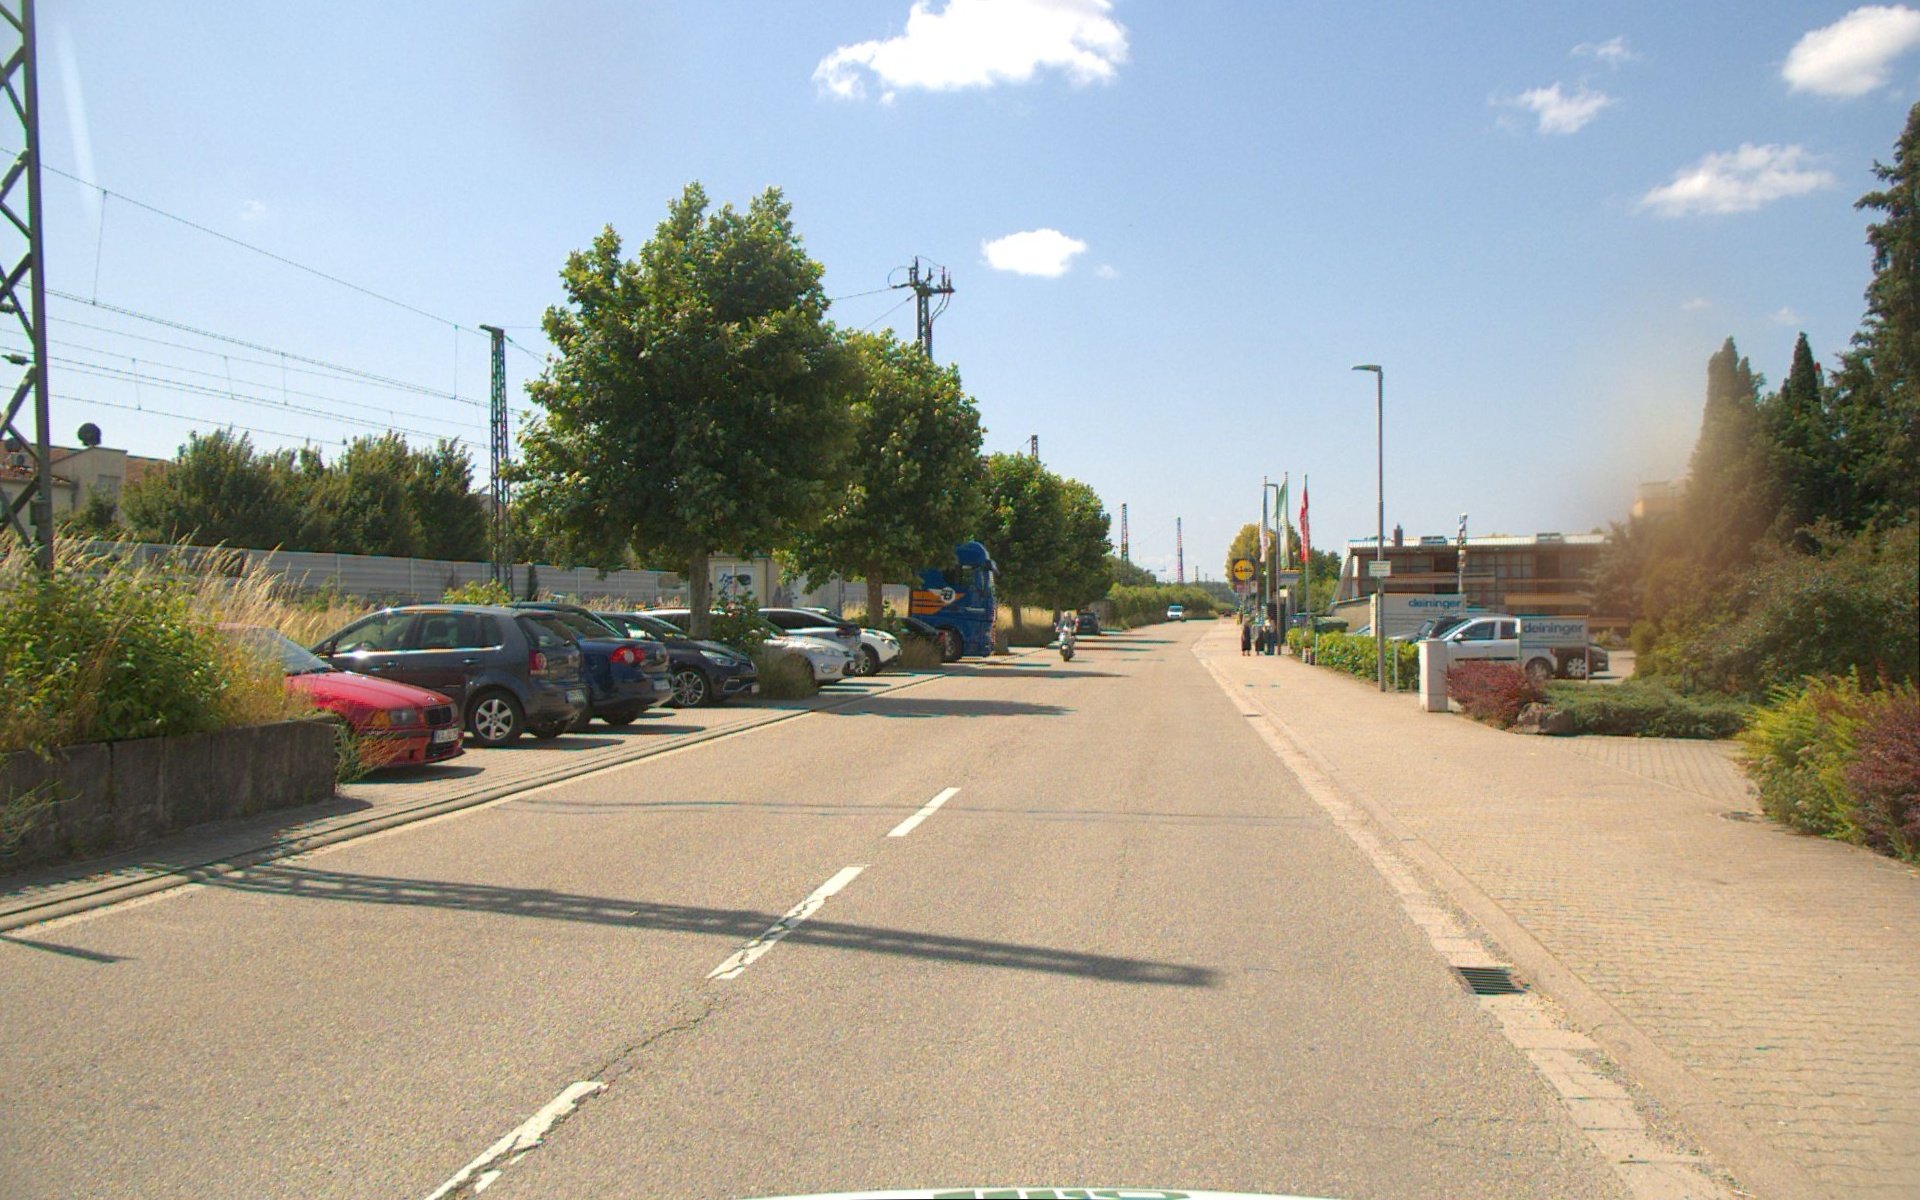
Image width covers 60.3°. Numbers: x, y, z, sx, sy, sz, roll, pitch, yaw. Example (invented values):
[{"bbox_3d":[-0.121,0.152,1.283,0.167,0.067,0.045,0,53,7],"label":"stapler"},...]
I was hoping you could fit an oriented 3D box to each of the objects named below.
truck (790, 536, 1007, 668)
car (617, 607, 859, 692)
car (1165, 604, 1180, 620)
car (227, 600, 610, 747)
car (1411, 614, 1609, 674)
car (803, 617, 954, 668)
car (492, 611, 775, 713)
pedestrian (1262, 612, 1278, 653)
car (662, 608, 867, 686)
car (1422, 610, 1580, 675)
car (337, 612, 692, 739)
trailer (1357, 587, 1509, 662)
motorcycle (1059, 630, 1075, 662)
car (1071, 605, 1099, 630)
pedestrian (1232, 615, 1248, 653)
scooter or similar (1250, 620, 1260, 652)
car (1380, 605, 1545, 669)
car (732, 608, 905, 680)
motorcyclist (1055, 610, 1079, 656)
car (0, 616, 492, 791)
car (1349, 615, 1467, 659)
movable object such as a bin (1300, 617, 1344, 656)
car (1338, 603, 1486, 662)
[{"bbox_3d":[-1.879,0.078,52.243,6.474,3.890,2.666,-1,-1,5],"label":"truck"},{"bbox_3d":[-4.216,0.924,31.789,4.245,1.560,1.927,0,0,7],"label":"car"},{"bbox_3d":[25.483,1.440,198.266,1.799,1.890,4.487,0,0,8],"label":"car"},{"bbox_3d":[-5.875,0.772,18.185,3.588,1.473,1.685,1,0,5],"label":"car"},{"bbox_3d":[13.729,1.078,41.459,4.380,1.465,1.816,0,-1,4],"label":"car"},{"bbox_3d":[-2.333,1.222,47.911,4.119,1.420,1.873,0,-1,5],"label":"car"},{"bbox_3d":[-5.099,0.960,26.103,3.986,1.498,1.788,-1,-1,7],"label":"car"},{"bbox_3d":[11.911,1.244,63.516,0.523,1.567,0.511,-2,-3,6],"label":"pedestrian"},{"bbox_3d":[-4.032,0.961,34.460,3.902,1.575,2.001,0,-1,5],"label":"car"},{"bbox_3d":[12.725,0.989,39.075,3.281,1.426,1.771,-1,-1,10],"label":"car"},{"bbox_3d":[-5.484,0.916,20.549,3.861,1.476,1.788,-1,-1,12],"label":"car"},{"bbox_3d":[13.630,0.699,47.842,3.902,2.049,2.001,-1,-1,7],"label":"trailer"},{"bbox_3d":[3.642,1.563,56.095,0.453,1.069,1.956,0,-1,7],"label":"motorcycle"},{"bbox_3d":[8.358,1.151,110.363,1.704,1.624,3.582,0,0,7],"label":"car"},{"bbox_3d":[10.781,1.321,63.741,0.553,1.430,0.584,-2,-3,6],"label":"pedestrian"},{"bbox_3d":[11.354,1.391,63.737,0.327,1.219,0.398,-2,-3,8],"label":"scooter or similar"},{"bbox_3d":[13.620,1.031,45.013,3.950,1.602,1.714,-1,-3,2],"label":"car"},{"bbox_3d":[-3.345,1.028,39.645,3.886,1.646,1.852,-1,-1,4],"label":"car"},{"bbox_3d":[3.645,1.110,56.230,0.759,1.535,0.922,0,-1,7],"label":"motorcyclist"},{"bbox_3d":[-6.412,0.863,14.695,3.986,1.392,1.675,0,1,7],"label":"car"},{"bbox_3d":[15.534,1.282,57.513,3.763,1.481,1.819,0,-1,8],"label":"car"},{"bbox_3d":[13.831,1.392,63.175,1.250,1.484,1.038,1,-1,-30],"label":"movable object such as a bin"},{"bbox_3d":[13.870,1.016,50.927,4.123,1.662,1.802,-2,-3,6],"label":"car"}]
